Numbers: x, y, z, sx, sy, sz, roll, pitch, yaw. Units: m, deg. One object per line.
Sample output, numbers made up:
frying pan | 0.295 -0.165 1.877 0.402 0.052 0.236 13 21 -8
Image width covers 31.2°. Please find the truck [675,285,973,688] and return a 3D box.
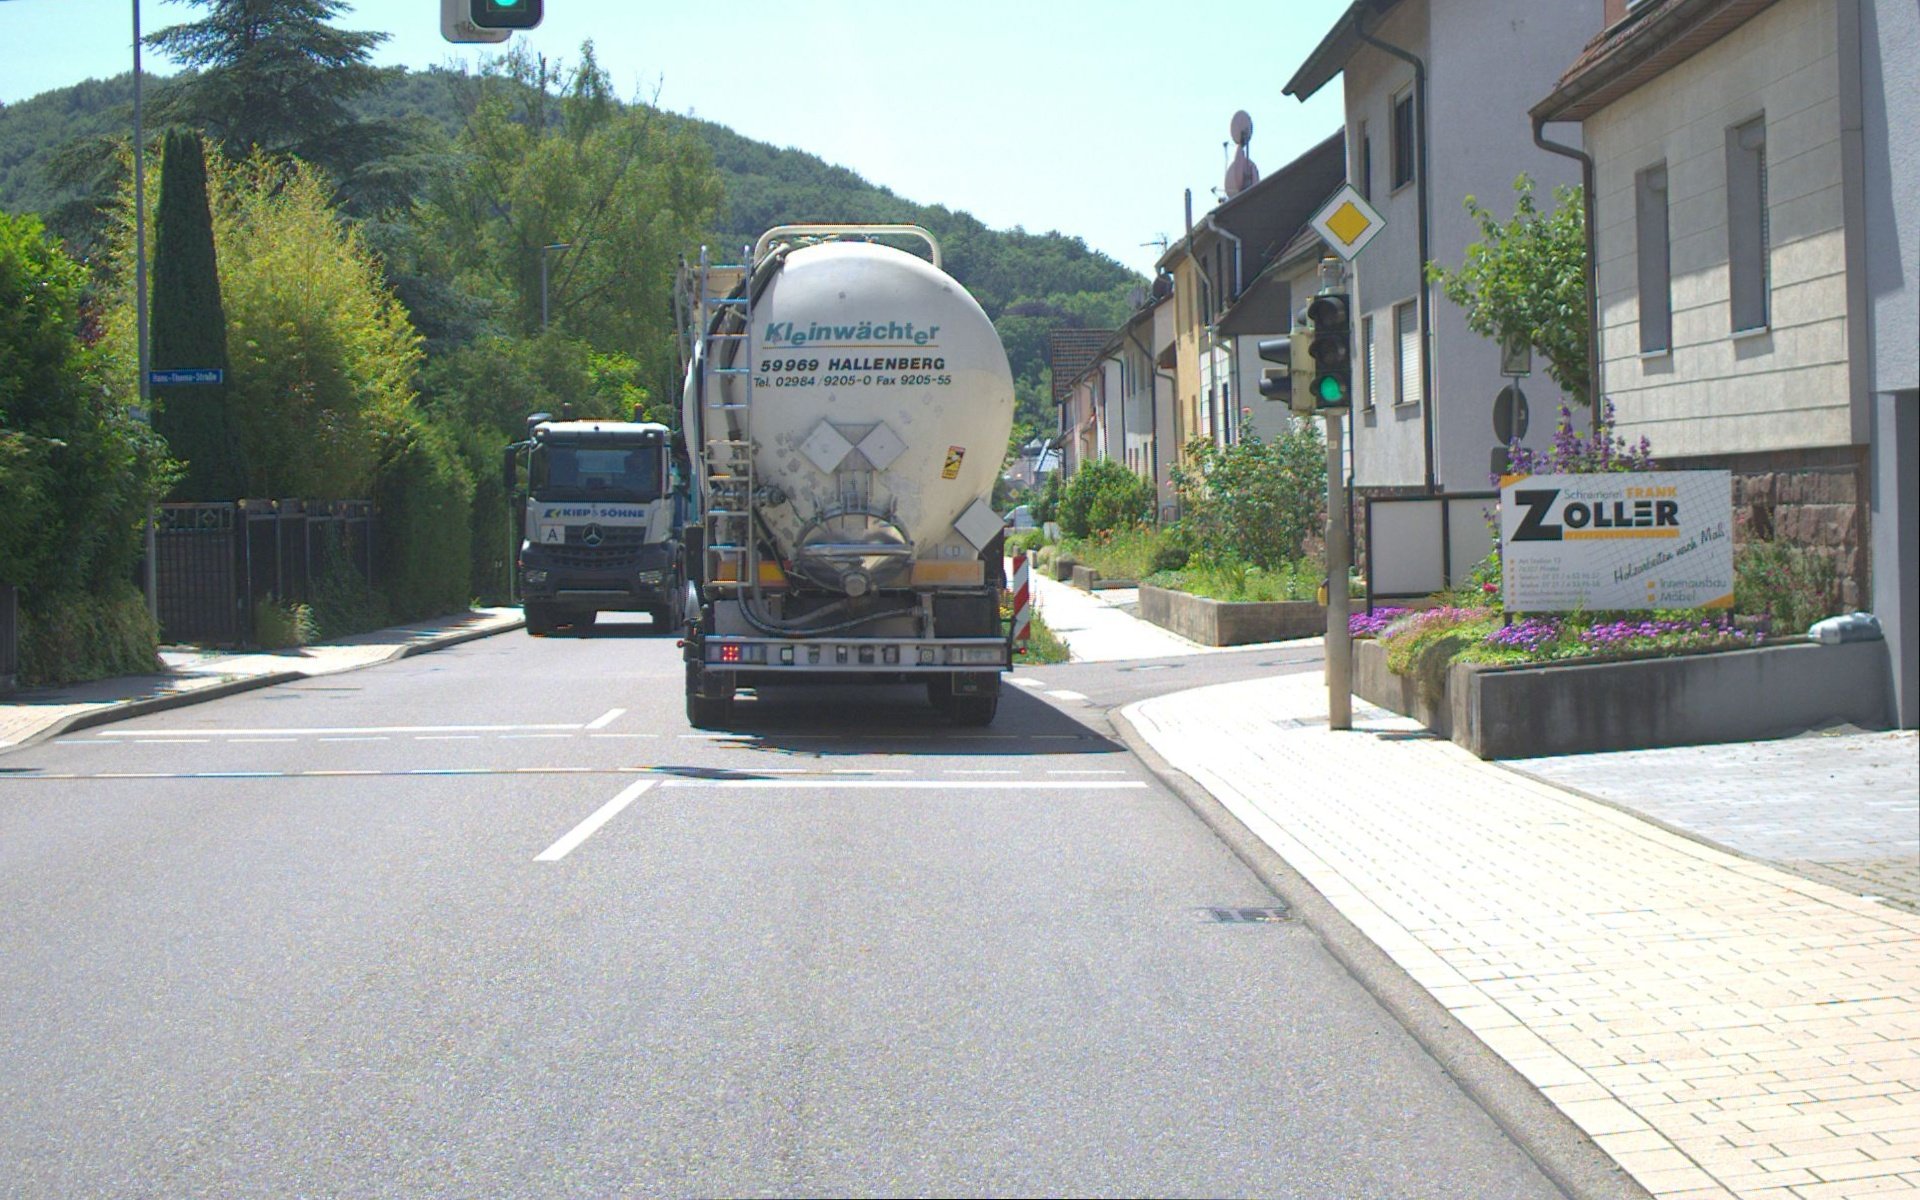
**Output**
truck | -1.585 -1.163 36.778 2.808 3.923 6.100 0 1 -6

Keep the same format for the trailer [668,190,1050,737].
trailer | -1.080 -1.087 30.318 2.796 3.987 10.325 0 1 -4

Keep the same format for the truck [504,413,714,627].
truck | -5.842 -1.340 58.546 2.728 3.360 8.635 1 1 0
